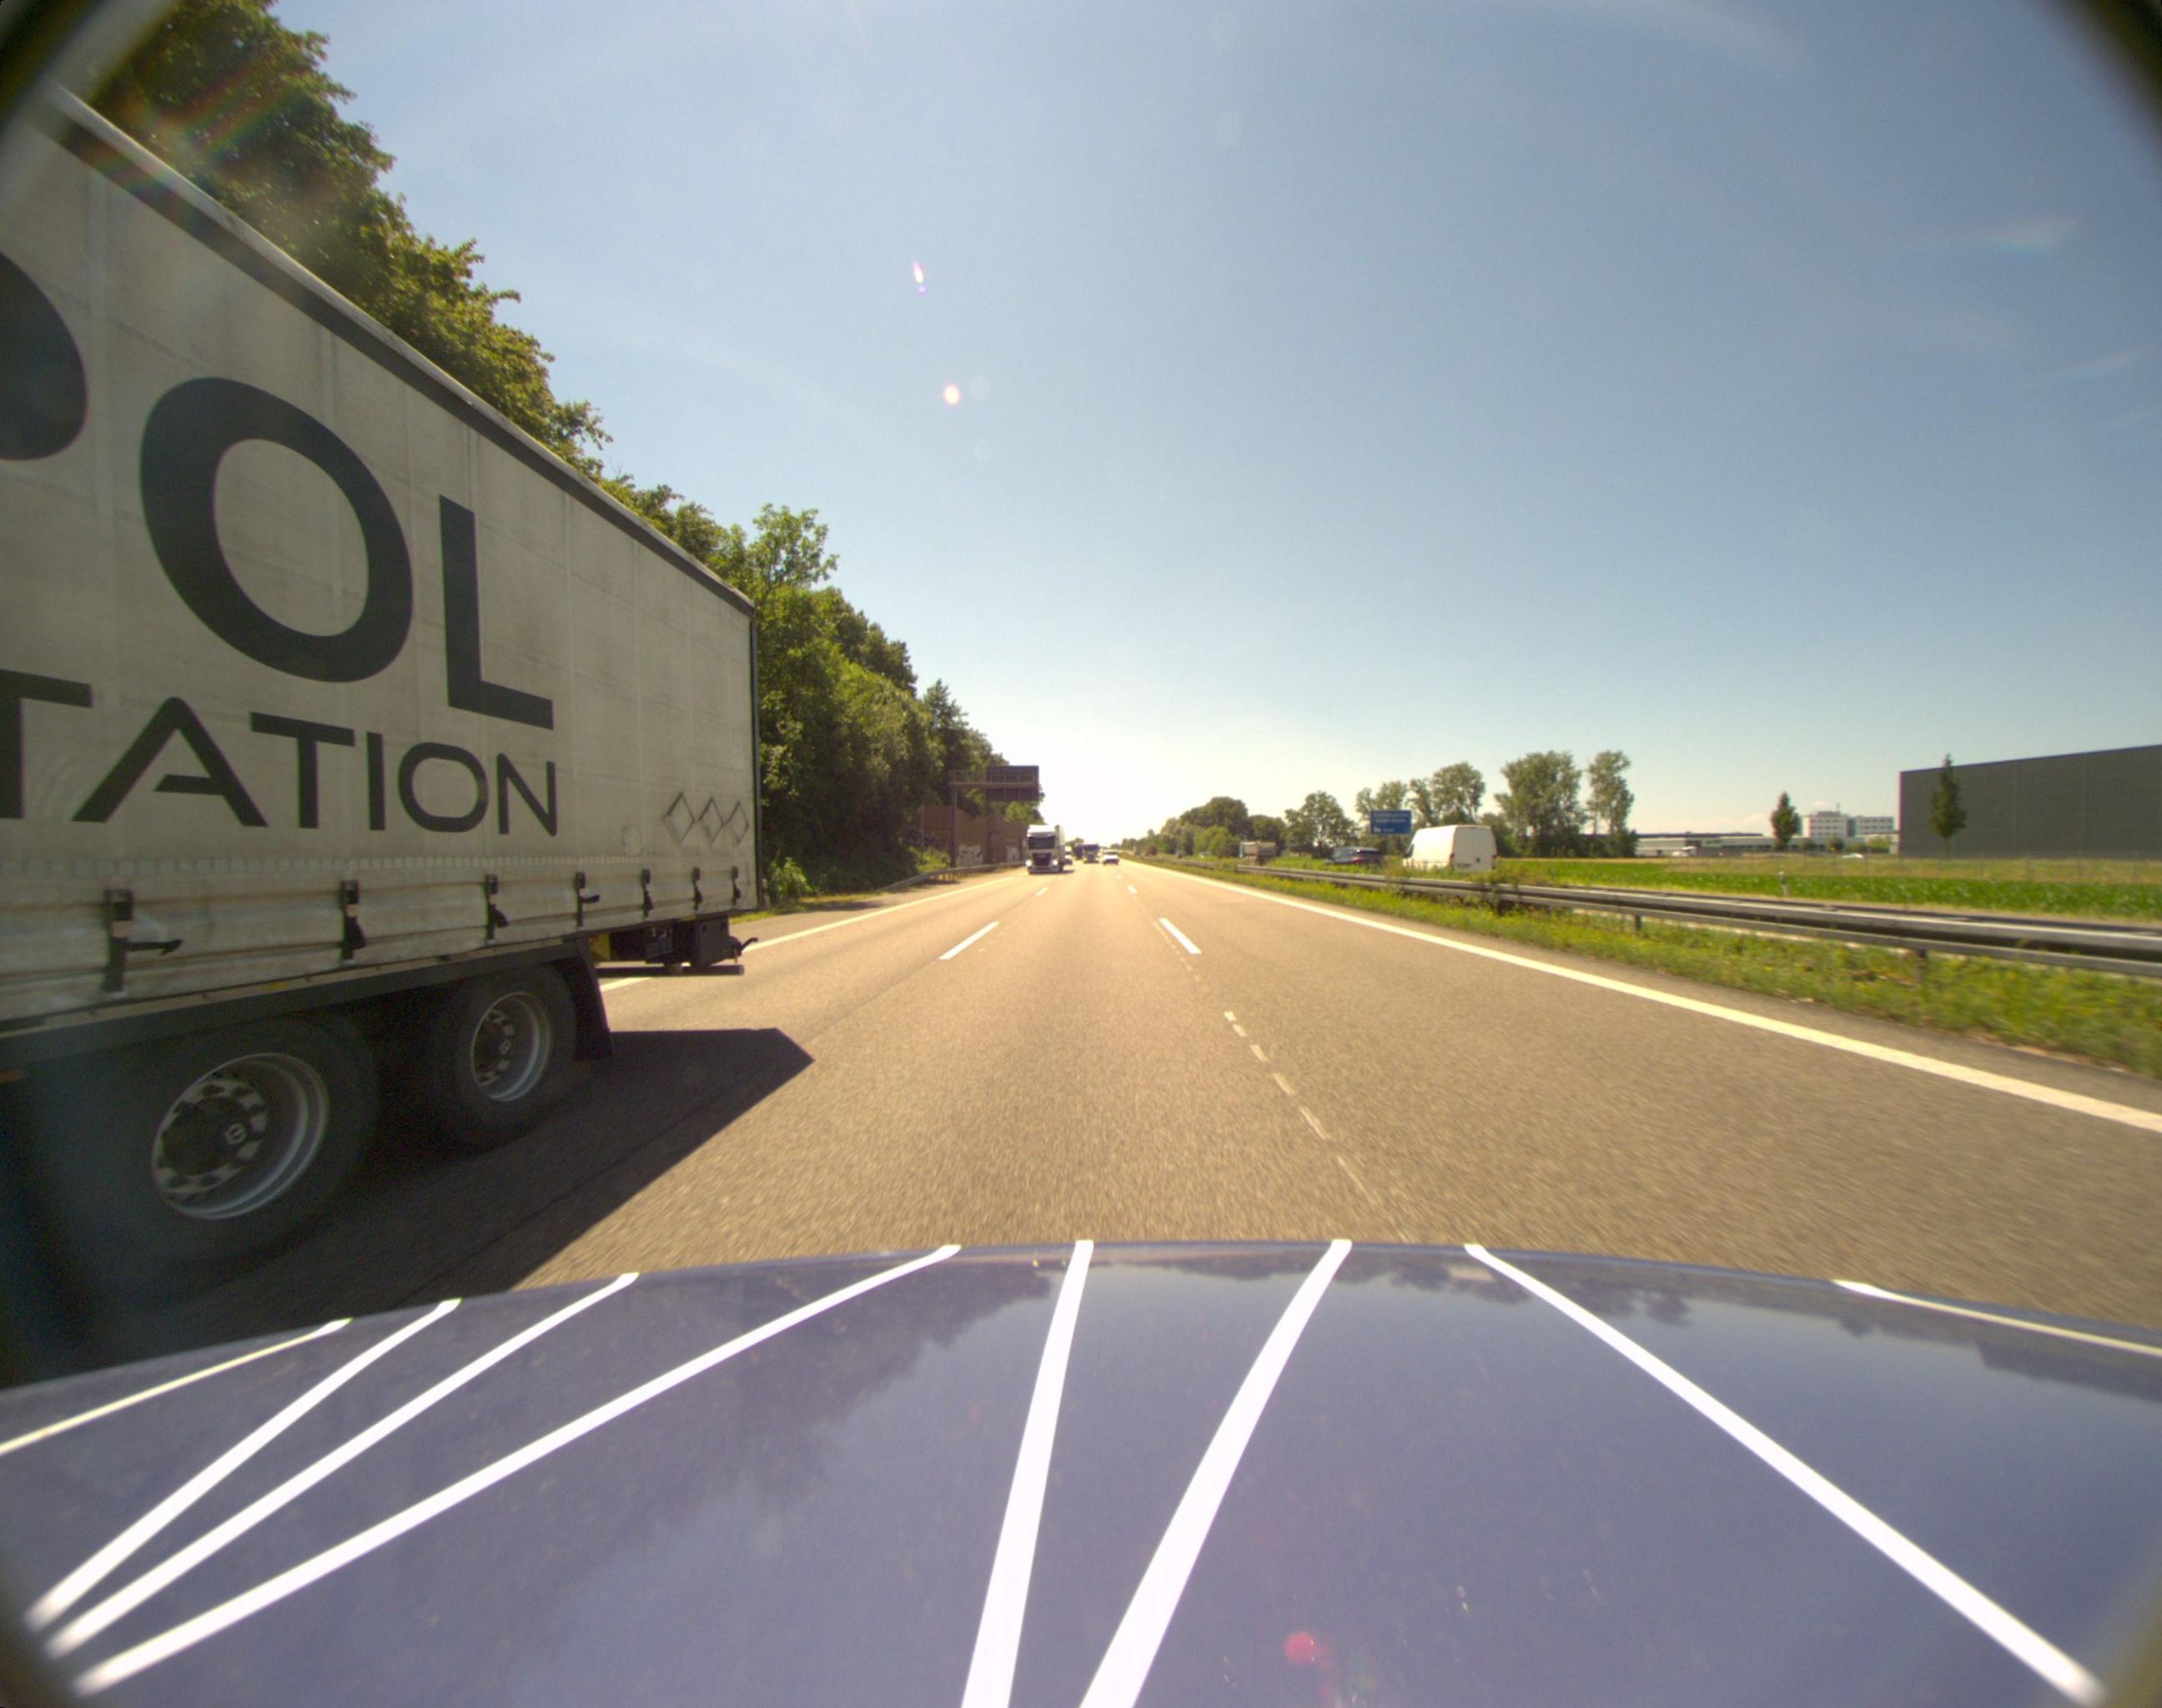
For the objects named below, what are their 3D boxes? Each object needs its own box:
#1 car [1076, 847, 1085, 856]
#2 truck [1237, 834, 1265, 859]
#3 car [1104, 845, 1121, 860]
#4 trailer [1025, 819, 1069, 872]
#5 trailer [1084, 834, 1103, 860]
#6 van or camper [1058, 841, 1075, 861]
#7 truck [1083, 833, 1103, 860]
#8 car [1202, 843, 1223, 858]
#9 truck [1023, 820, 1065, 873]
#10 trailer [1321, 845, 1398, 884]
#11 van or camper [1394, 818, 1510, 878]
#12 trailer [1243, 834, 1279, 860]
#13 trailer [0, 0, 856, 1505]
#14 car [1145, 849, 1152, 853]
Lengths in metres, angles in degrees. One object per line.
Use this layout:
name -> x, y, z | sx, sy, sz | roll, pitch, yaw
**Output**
car -> -0.059, -0.520, 177.744 | 1.998, 2.002, 4.868 | 0, 0, 1
truck -> 23.451, -1.032, 104.884 | 2.704, 3.232, 5.837 | -1, 1, 1
car -> 4.084, -0.216, 99.560 | 2.147, 1.810, 5.267 | -1, 1, 1
trailer -> -2.937, -0.786, 69.469 | 3.001, 4.264, 13.417 | -2, 1, 1
trailer -> 2.081, -1.206, 124.365 | 2.927, 4.018, 7.316 | -2, 1, 1
van or camper -> -1.965, -0.398, 106.896 | 2.027, 2.622, 6.486 | -2, 1, 1
truck -> 1.950, -1.134, 118.820 | 2.896, 4.007, 6.869 | -2, 1, 2
car -> 16.205, -0.444, 93.505 | 1.874, 1.732, 4.722 | 0, 0, 1
truck -> -3.023, -0.631, 62.883 | 3.010, 4.101, 5.252 | -1, 1, 1
trailer -> 13.353, 0.460, 36.799 | 1.998, 1.748, 4.857 | 0, 0, 1
van or camper -> 17.289, -0.295, 35.861 | 2.428, 2.519, 6.175 | 1, 1, 1
trailer -> 23.327, -0.941, 98.758 | 2.682, 3.219, 9.258 | -1, 1, 2
trailer -> -4.576, -0.414, 1.928 | 3.114, 4.481, 14.895 | -2, 1, 1
car -> 23.389, -1.048, 264.328 | 1.998, 1.670, 5.552 | 0, 0, 2
